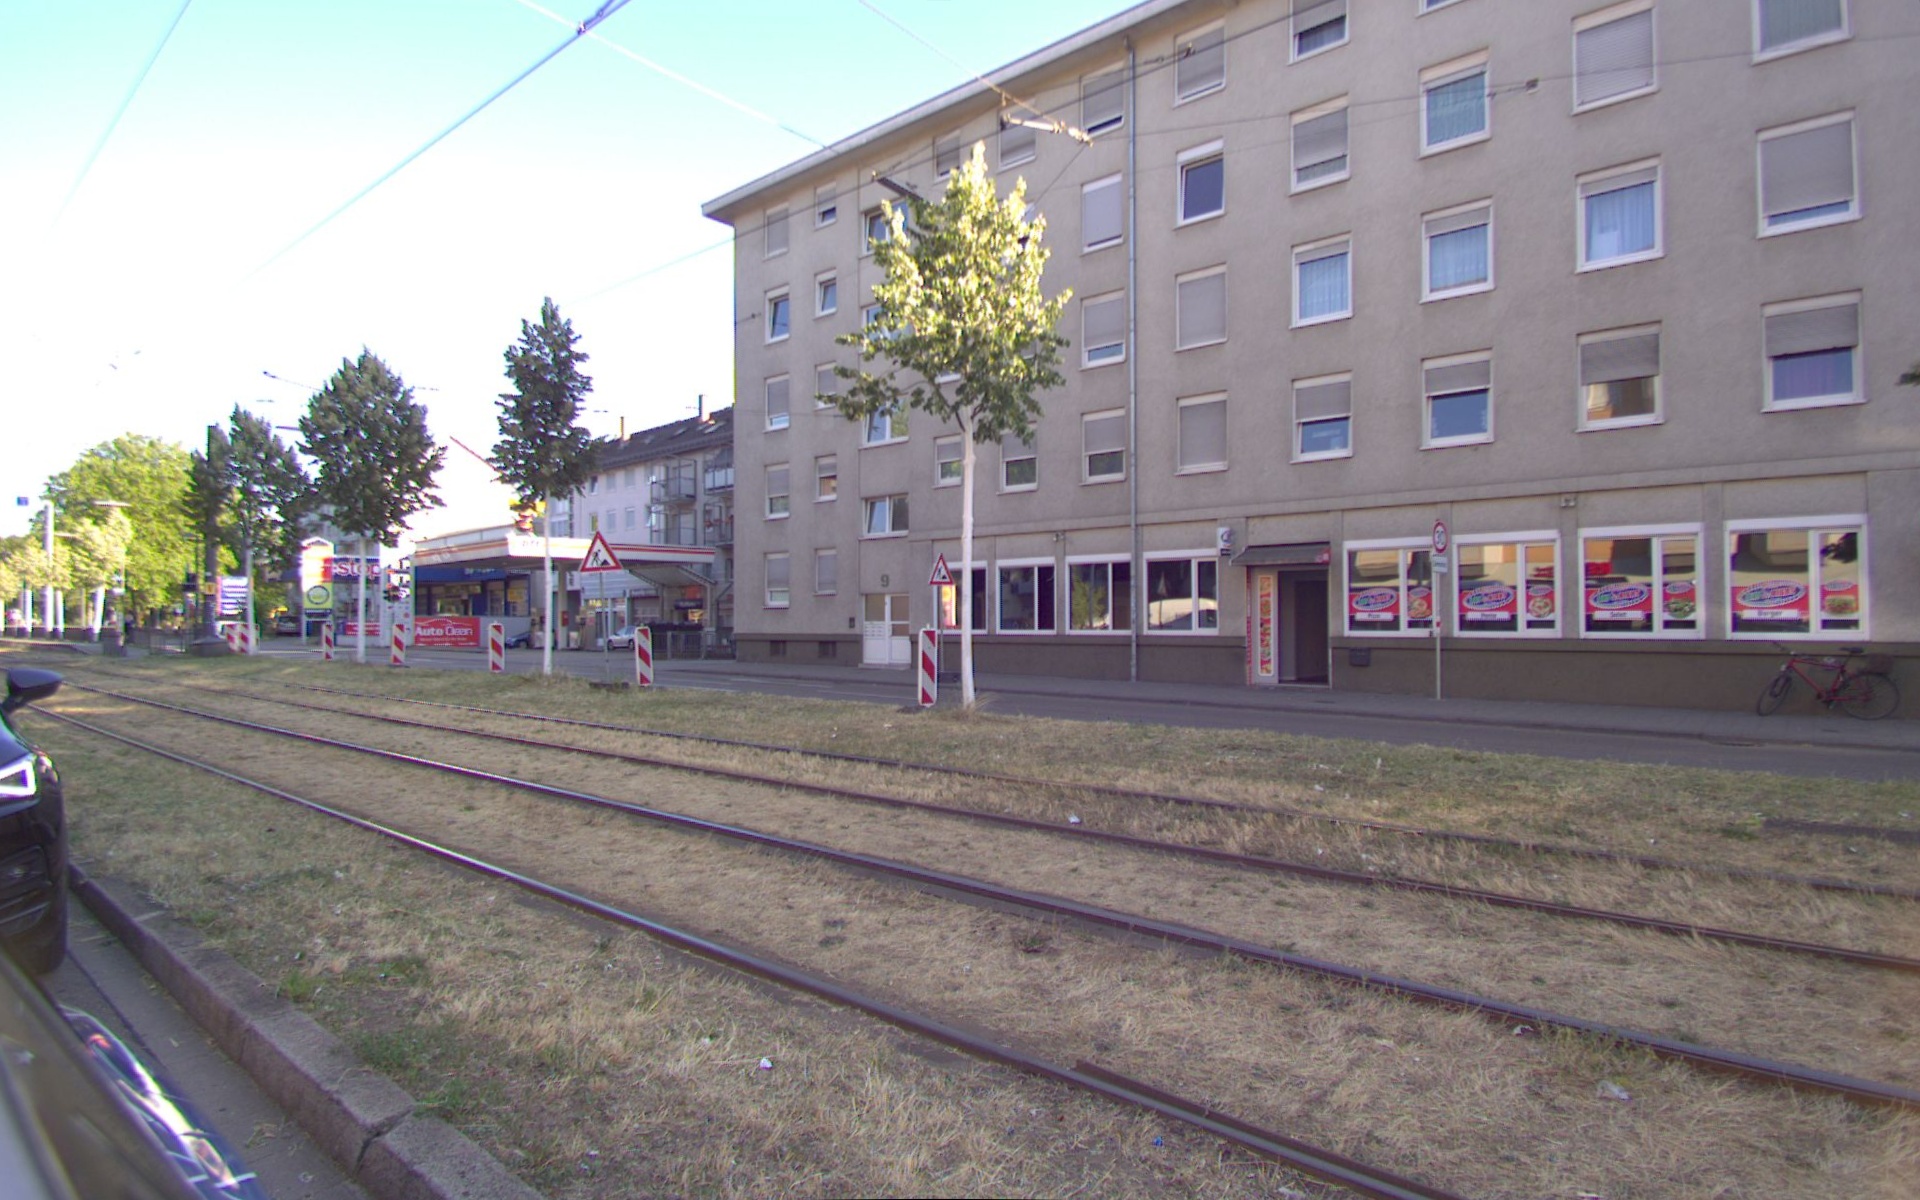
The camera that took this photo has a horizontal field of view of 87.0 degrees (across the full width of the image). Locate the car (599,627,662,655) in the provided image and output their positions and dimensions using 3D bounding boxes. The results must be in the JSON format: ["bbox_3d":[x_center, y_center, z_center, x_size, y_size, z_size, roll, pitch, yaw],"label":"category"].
[{"bbox_3d":[-19.470,2.385,59.723,3.826,1.535,1.794,-1,0,40],"label":"car"}]

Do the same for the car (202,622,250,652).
[{"bbox_3d":[-39.391,1.963,54.269,1.789,1.523,3.835,2,-2,-40],"label":"car"}]

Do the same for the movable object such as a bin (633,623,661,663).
[{"bbox_3d":[-11.352,1.549,36.730,0.748,1.411,0.656,-2,-2,39],"label":"movable object such as a bin"}]

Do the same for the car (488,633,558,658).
[{"bbox_3d":[-28.435,2.936,65.915,1.818,1.535,3.752,-2,-2,43],"label":"car"}]

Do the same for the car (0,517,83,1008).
[{"bbox_3d":[-5.208,0.594,4.142,4.083,1.628,1.886,-2,0,41],"label":"car"}]

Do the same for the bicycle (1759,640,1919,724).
[{"bbox_3d":[12.718,1.150,14.631,1.777,1.123,0.739,-2,-2,41],"label":"bicycle"}]
